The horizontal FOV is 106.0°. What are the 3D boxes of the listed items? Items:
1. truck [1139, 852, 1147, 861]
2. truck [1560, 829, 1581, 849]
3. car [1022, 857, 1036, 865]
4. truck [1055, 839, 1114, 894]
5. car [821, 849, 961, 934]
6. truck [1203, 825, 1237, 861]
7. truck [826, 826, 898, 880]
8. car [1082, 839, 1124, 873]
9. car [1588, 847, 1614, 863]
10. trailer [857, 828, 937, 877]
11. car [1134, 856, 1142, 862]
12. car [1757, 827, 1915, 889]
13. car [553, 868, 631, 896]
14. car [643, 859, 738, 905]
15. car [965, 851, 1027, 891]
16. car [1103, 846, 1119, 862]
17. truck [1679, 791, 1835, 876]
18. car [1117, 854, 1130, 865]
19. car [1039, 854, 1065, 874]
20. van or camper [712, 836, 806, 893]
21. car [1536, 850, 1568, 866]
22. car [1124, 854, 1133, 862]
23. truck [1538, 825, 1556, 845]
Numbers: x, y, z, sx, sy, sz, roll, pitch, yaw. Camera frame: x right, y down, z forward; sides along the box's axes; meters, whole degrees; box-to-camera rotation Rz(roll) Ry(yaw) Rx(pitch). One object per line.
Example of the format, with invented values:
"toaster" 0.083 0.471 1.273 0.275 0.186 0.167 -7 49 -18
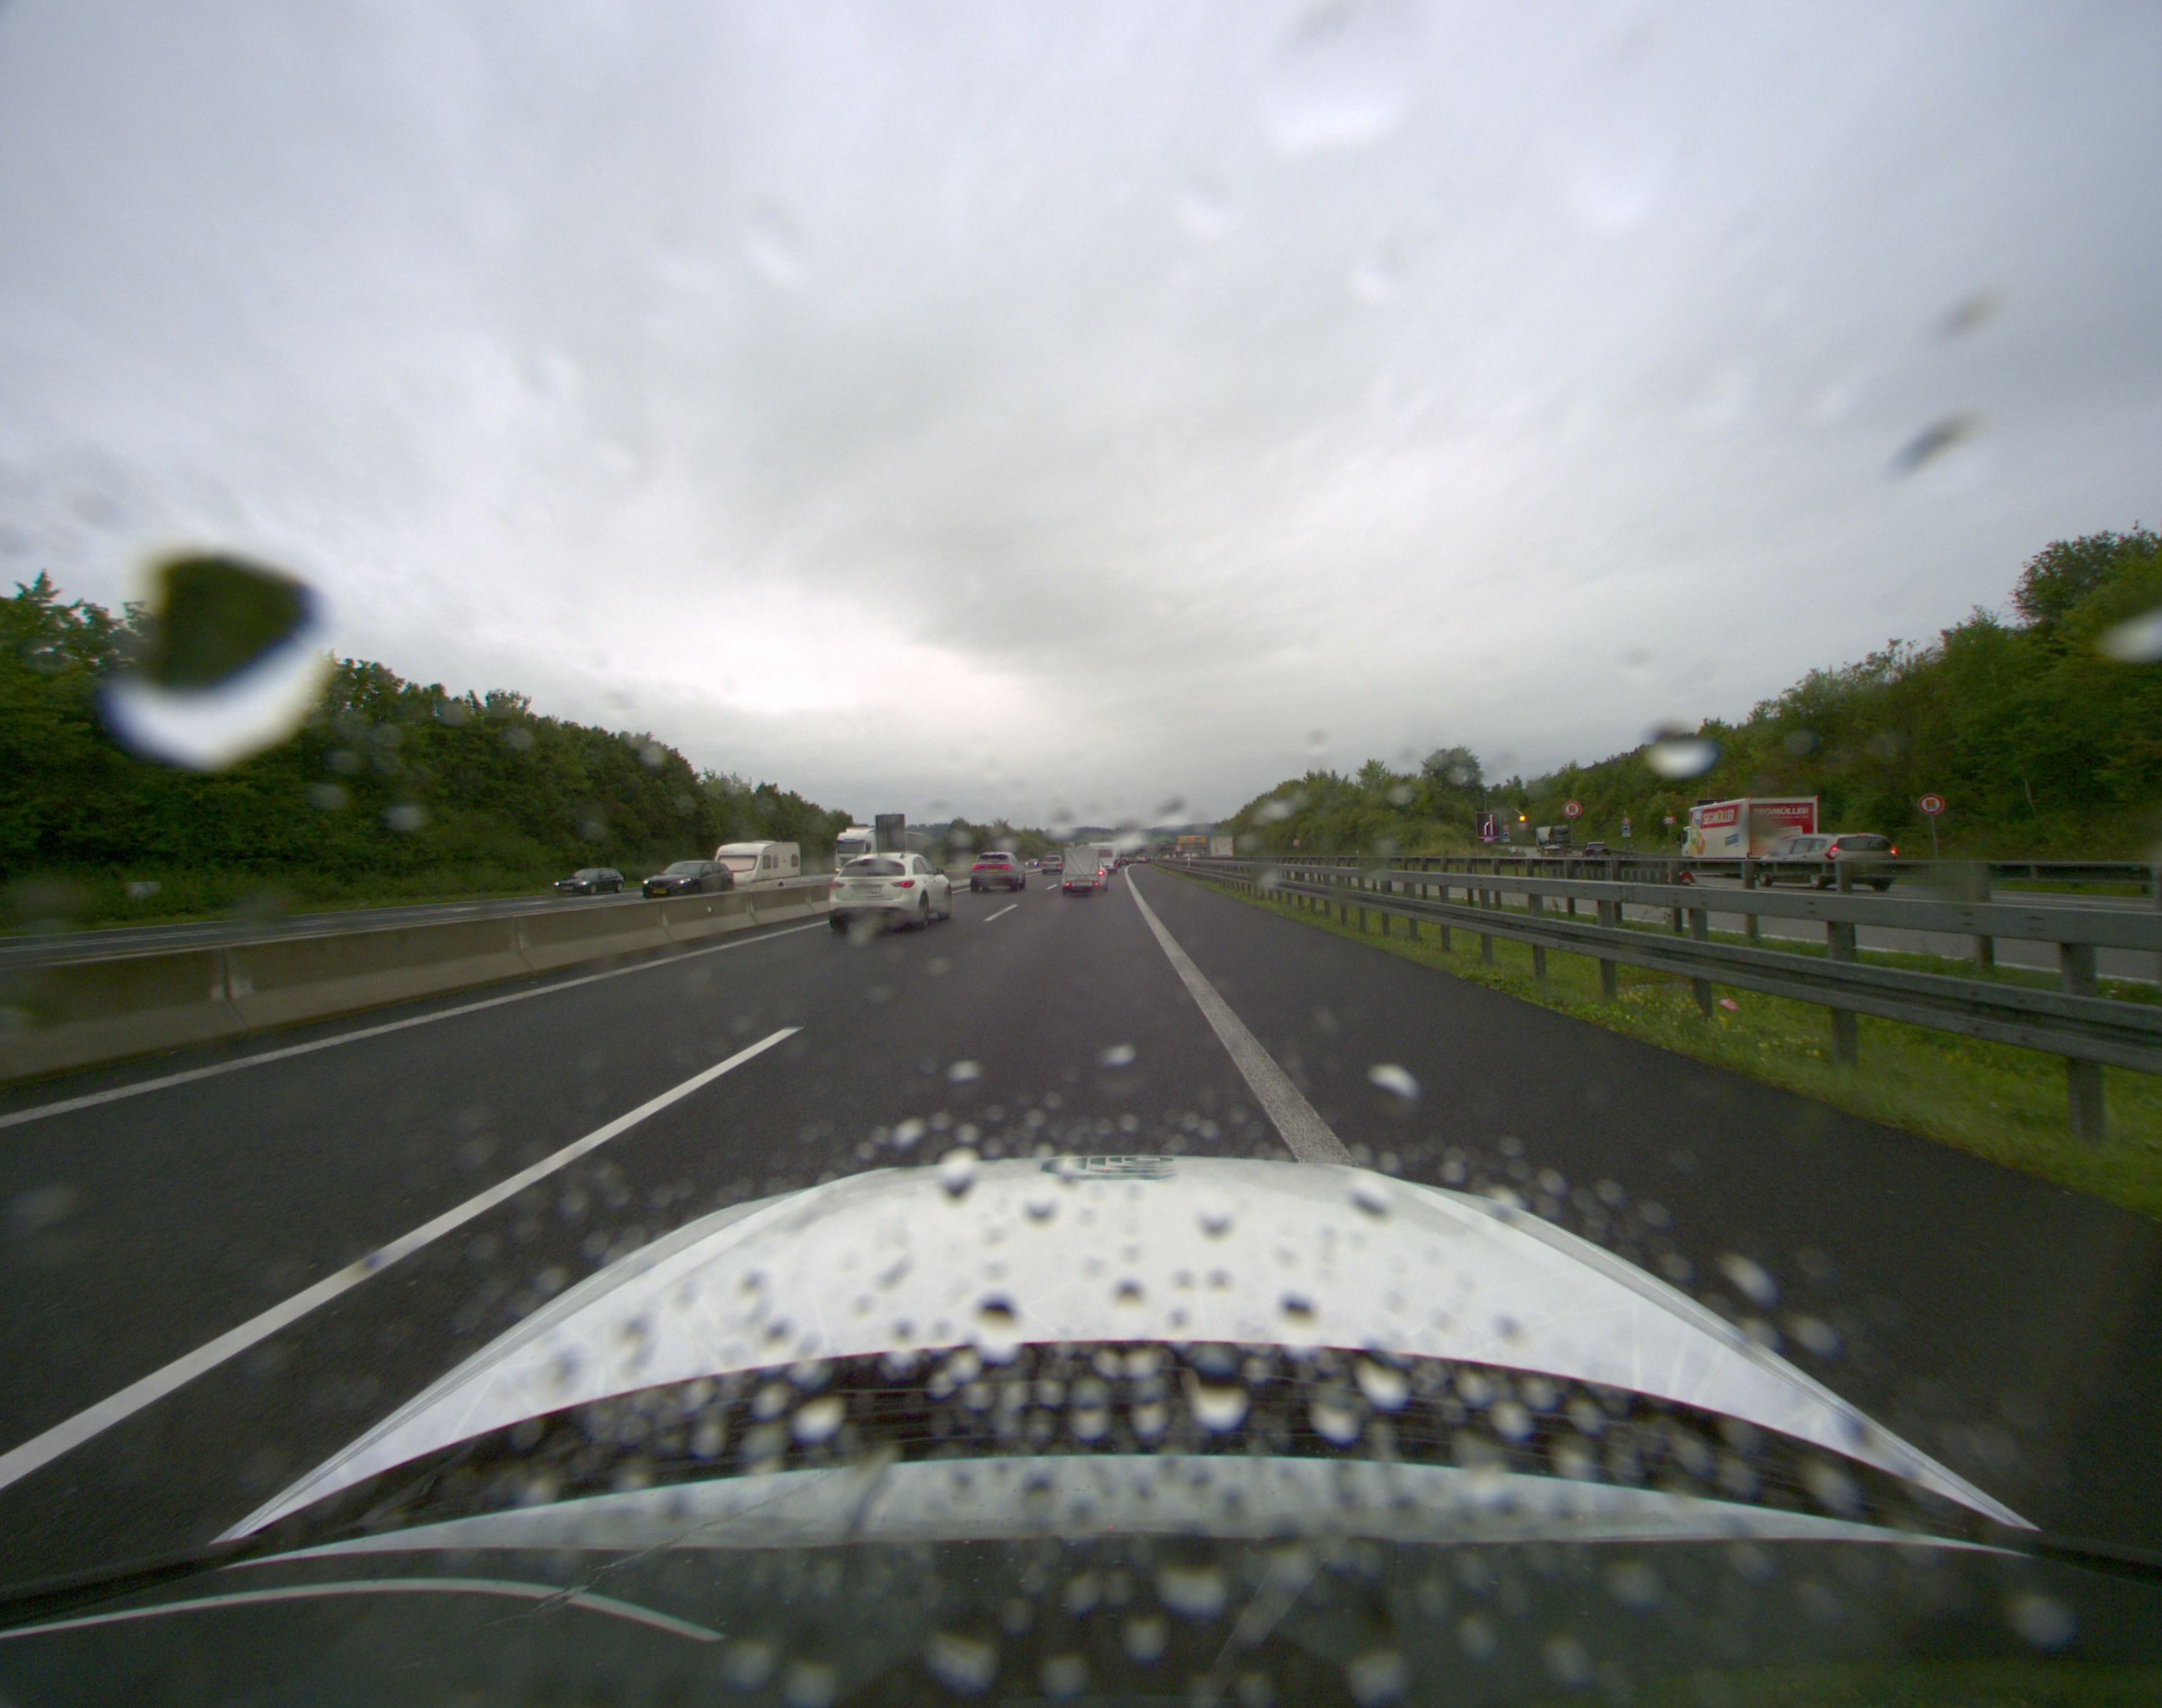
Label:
"truck" 19.791 0.822 259.741 2.266 3.082 7.258 0 -1 6
"truck" 68.227 -2.090 113.460 2.416 2.704 5.604 -2 0 32
"car" -8.807 1.197 138.689 1.893 1.405 4.382 -1 0 3
"truck" 0.287 0.457 33.433 2.010 1.985 7.218 -1 0 3
"car" -4.099 0.760 18.393 1.969 1.639 4.501 -1 0 1
"truck" 20.763 -1.535 122.534 4.074 5.103 10.478 -1 0 5
"truck" -17.652 -0.087 66.343 3.245 4.083 7.450 -1 0 4
"car" 1.885 0.127 67.741 3.002 2.616 6.084 -1 0 6
"car" 49.517 0.065 77.599 1.842 1.447 4.183 -2 0 29
"trailer" -16.892 -0.103 76.209 3.245 4.083 13.862 -1 0 4
"car" 16.333 1.473 232.638 1.983 1.750 4.007 0 -1 6
"car" 22.699 0.118 24.744 1.844 1.659 4.494 -2 0 19
"car" -25.965 1.458 43.379 1.682 1.294 3.924 -1 0 2
"car" -15.362 1.042 32.298 1.522 1.620 4.389 -1 0 1
"car" -3.722 0.743 36.431 2.166 1.631 4.501 -1 0 1
"car" 3.962 0.040 107.716 1.986 2.036 4.152 0 -1 1
"truck" 30.885 -0.839 37.767 2.874 3.395 9.022 -1 0 22
"car" 7.062 0.914 134.783 1.984 1.750 4.005 0 -1 5
"car" -2.485 0.809 70.218 1.893 1.613 4.020 -1 0 3
"van or camper" -15.014 0.444 38.345 1.787 2.470 5.555 -1 0 5
"car" 43.448 0.372 75.204 1.844 1.447 4.178 -2 0 20
"car" 11.157 0.958 190.743 1.984 1.750 4.005 0 -1 5
"truck" 70.820 -2.916 123.657 2.223 2.878 8.225 -1 0 31
